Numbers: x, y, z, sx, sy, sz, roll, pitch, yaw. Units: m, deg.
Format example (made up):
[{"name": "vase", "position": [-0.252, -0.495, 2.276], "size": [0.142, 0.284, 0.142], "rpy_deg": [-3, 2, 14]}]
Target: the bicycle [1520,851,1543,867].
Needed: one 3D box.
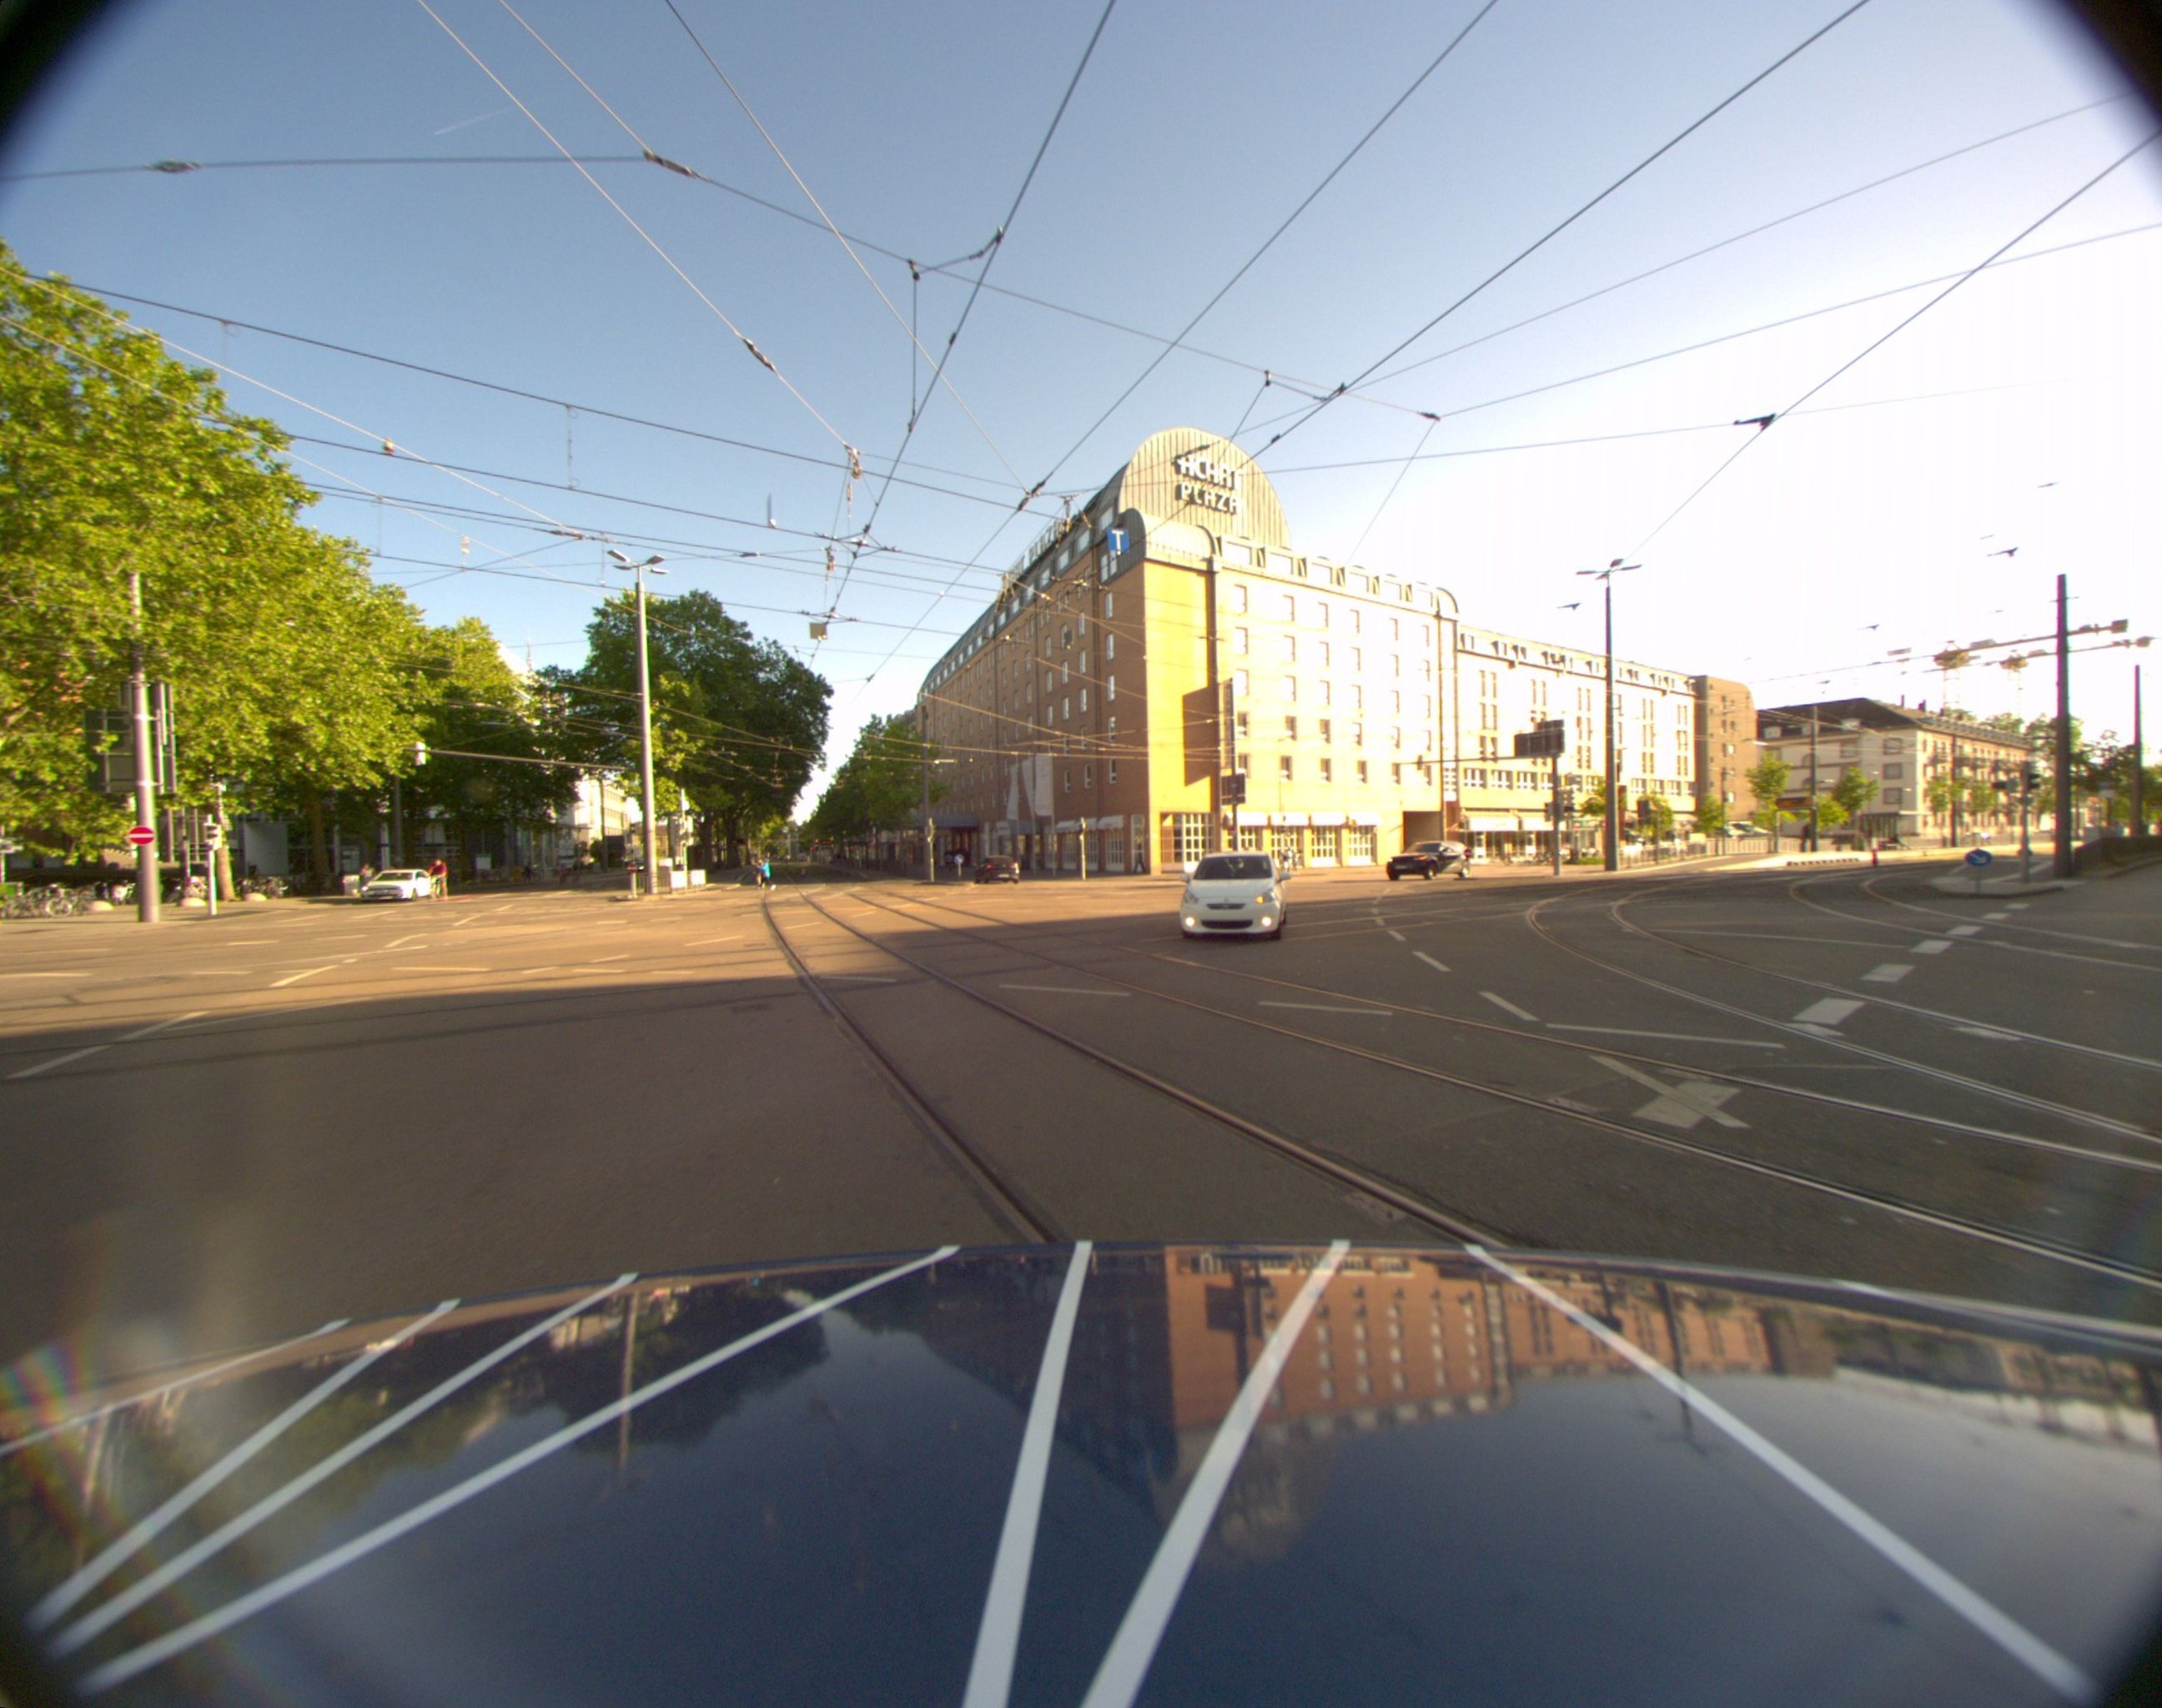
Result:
[{"name": "bicycle", "position": [35.262, 0.398, 59.456], "size": [0.553, 1.142, 1.774], "rpy_deg": [-2, 2, -9]}]

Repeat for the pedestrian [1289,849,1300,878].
[{"name": "pedestrian", "position": [13.220, 0.562, 47.007], "size": [0.578, 1.764, 0.405], "rpy_deg": [0, 2, 3]}]

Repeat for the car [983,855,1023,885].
[{"name": "car", "position": [-4.108, 0.789, 39.326], "size": [1.797, 1.457, 4.307], "rpy_deg": [0, 0, -10]}]

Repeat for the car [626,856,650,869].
[{"name": "car", "position": [-56.031, 1.072, 96.161], "size": [1.903, 1.525, 3.992], "rpy_deg": [-2, 1, -21]}]

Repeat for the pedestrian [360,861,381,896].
[{"name": "pedestrian", "position": [-36.683, 1.245, 39.221], "size": [0.644, 1.766, 0.616], "rpy_deg": [-2, 1, -31]}]

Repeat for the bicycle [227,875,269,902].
[{"name": "bicycle", "position": [-40.303, 1.649, 36.737], "size": [2.924, 1.228, 0.879], "rpy_deg": [0, 0, 33]}]

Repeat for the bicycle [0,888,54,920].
[{"name": "bicycle", "position": [-36.288, 1.709, 26.006], "size": [0.391, 0.980, 1.708], "rpy_deg": [-1, 0, -16]}]

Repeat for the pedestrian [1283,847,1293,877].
[{"name": "pedestrian", "position": [12.598, 0.490, 46.192], "size": [0.497, 1.823, 0.734], "rpy_deg": [1, 2, 25]}]

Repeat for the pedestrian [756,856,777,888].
[{"name": "pedestrian", "position": [-15.463, 0.897, 37.345], "size": [0.744, 1.530, 0.675], "rpy_deg": [-2, 0, -38]}]

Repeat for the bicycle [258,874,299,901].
[{"name": "bicycle", "position": [-39.760, 1.643, 37.628], "size": [2.924, 1.228, 0.879], "rpy_deg": [0, 0, 33]}]

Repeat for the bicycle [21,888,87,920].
[{"name": "bicycle", "position": [-35.376, 1.695, 26.196], "size": [0.391, 0.980, 1.708], "rpy_deg": [-1, 0, -16]}]

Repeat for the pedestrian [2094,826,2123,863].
[{"name": "pedestrian", "position": [43.185, -0.391, 31.934], "size": [0.655, 1.526, 0.700], "rpy_deg": [-1, 1, -33]}]

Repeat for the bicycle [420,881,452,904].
[{"name": "bicycle", "position": [-28.681, 1.693, 33.805], "size": [0.653, 0.905, 1.855], "rpy_deg": [-1, 0, -26]}]

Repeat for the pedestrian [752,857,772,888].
[{"name": "pedestrian", "position": [-15.940, 0.908, 37.958], "size": [0.744, 1.530, 0.650], "rpy_deg": [-2, 0, -38]}]

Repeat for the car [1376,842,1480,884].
[{"name": "car", "position": [15.152, 0.384, 33.107], "size": [4.362, 1.652, 1.952], "rpy_deg": [-1, -1, -31]}]

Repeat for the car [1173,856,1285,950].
[{"name": "car", "position": [2.879, 0.776, 14.099], "size": [1.638, 1.458, 4.191], "rpy_deg": [-1, 0, 16]}]

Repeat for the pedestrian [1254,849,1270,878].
[{"name": "pedestrian", "position": [10.840, 0.573, 45.462], "size": [0.693, 1.757, 0.575], "rpy_deg": [-1, -1, 44]}]

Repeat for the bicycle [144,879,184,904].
[{"name": "bicycle", "position": [-43.186, 1.730, 35.774], "size": [2.924, 1.085, 0.879], "rpy_deg": [0, 0, 33]}]

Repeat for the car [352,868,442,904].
[{"name": "car", "position": [-31.529, 1.458, 35.167], "size": [2.003, 1.477, 3.992], "rpy_deg": [-2, -1, -26]}]

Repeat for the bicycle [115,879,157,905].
[{"name": "bicycle", "position": [-43.105, 1.716, 34.642], "size": [2.924, 1.085, 0.879], "rpy_deg": [0, 0, 33]}]

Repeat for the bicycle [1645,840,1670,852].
[{"name": "bicycle", "position": [56.383, -0.817, 74.333], "size": [1.878, 1.045, 0.602], "rpy_deg": [2, 4, 9]}]

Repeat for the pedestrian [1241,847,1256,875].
[{"name": "pedestrian", "position": [10.200, 0.447, 46.304], "size": [0.660, 1.693, 0.562], "rpy_deg": [-2, 0, -33]}]

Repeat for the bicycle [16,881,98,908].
[{"name": "bicycle", "position": [-43.484, 1.696, 32.271], "size": [2.928, 1.085, 0.878], "rpy_deg": [0, 0, 11]}]

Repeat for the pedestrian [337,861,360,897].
[{"name": "pedestrian", "position": [-37.063, 1.247, 38.447], "size": [0.644, 1.766, 0.616], "rpy_deg": [-2, 1, -31]}]

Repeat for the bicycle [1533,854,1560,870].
[{"name": "bicycle", "position": [36.552, 0.630, 59.730], "size": [0.554, 1.135, 1.771], "rpy_deg": [-3, 2, -28]}]

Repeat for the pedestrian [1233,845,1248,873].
[{"name": "pedestrian", "position": [9.831, 0.294, 46.785], "size": [0.603, 1.717, 0.602], "rpy_deg": [-2, 0, -34]}]

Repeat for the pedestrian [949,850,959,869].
[{"name": "pedestrian", "position": [-10.731, 0.474, 63.990], "size": [0.772, 1.584, 0.837], "rpy_deg": [-2, 0, -11]}]

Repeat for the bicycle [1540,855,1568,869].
[{"name": "bicycle", "position": [37.584, 0.605, 60.404], "size": [0.738, 1.065, 1.771], "rpy_deg": [-3, 2, -28]}]

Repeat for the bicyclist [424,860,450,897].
[{"name": "bicyclist", "position": [-28.737, 1.082, 33.923], "size": [0.638, 1.606, 0.926], "rpy_deg": [-1, 0, -26]}]

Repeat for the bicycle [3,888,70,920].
[{"name": "bicycle", "position": [-35.861, 1.697, 26.114], "size": [0.391, 0.980, 1.708], "rpy_deg": [-1, 0, -16]}]

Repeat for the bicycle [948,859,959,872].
[{"name": "bicycle", "position": [-10.719, 0.950, 63.982], "size": [0.792, 1.045, 1.921], "rpy_deg": [-2, -1, -12]}]

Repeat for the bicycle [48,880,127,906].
[{"name": "bicycle", "position": [-43.423, 1.707, 33.219], "size": [2.928, 1.085, 0.878], "rpy_deg": [0, 0, 11]}]

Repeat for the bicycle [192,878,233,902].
[{"name": "bicycle", "position": [-42.085, 1.708, 36.811], "size": [2.924, 1.085, 0.879], "rpy_deg": [0, 0, 33]}]
